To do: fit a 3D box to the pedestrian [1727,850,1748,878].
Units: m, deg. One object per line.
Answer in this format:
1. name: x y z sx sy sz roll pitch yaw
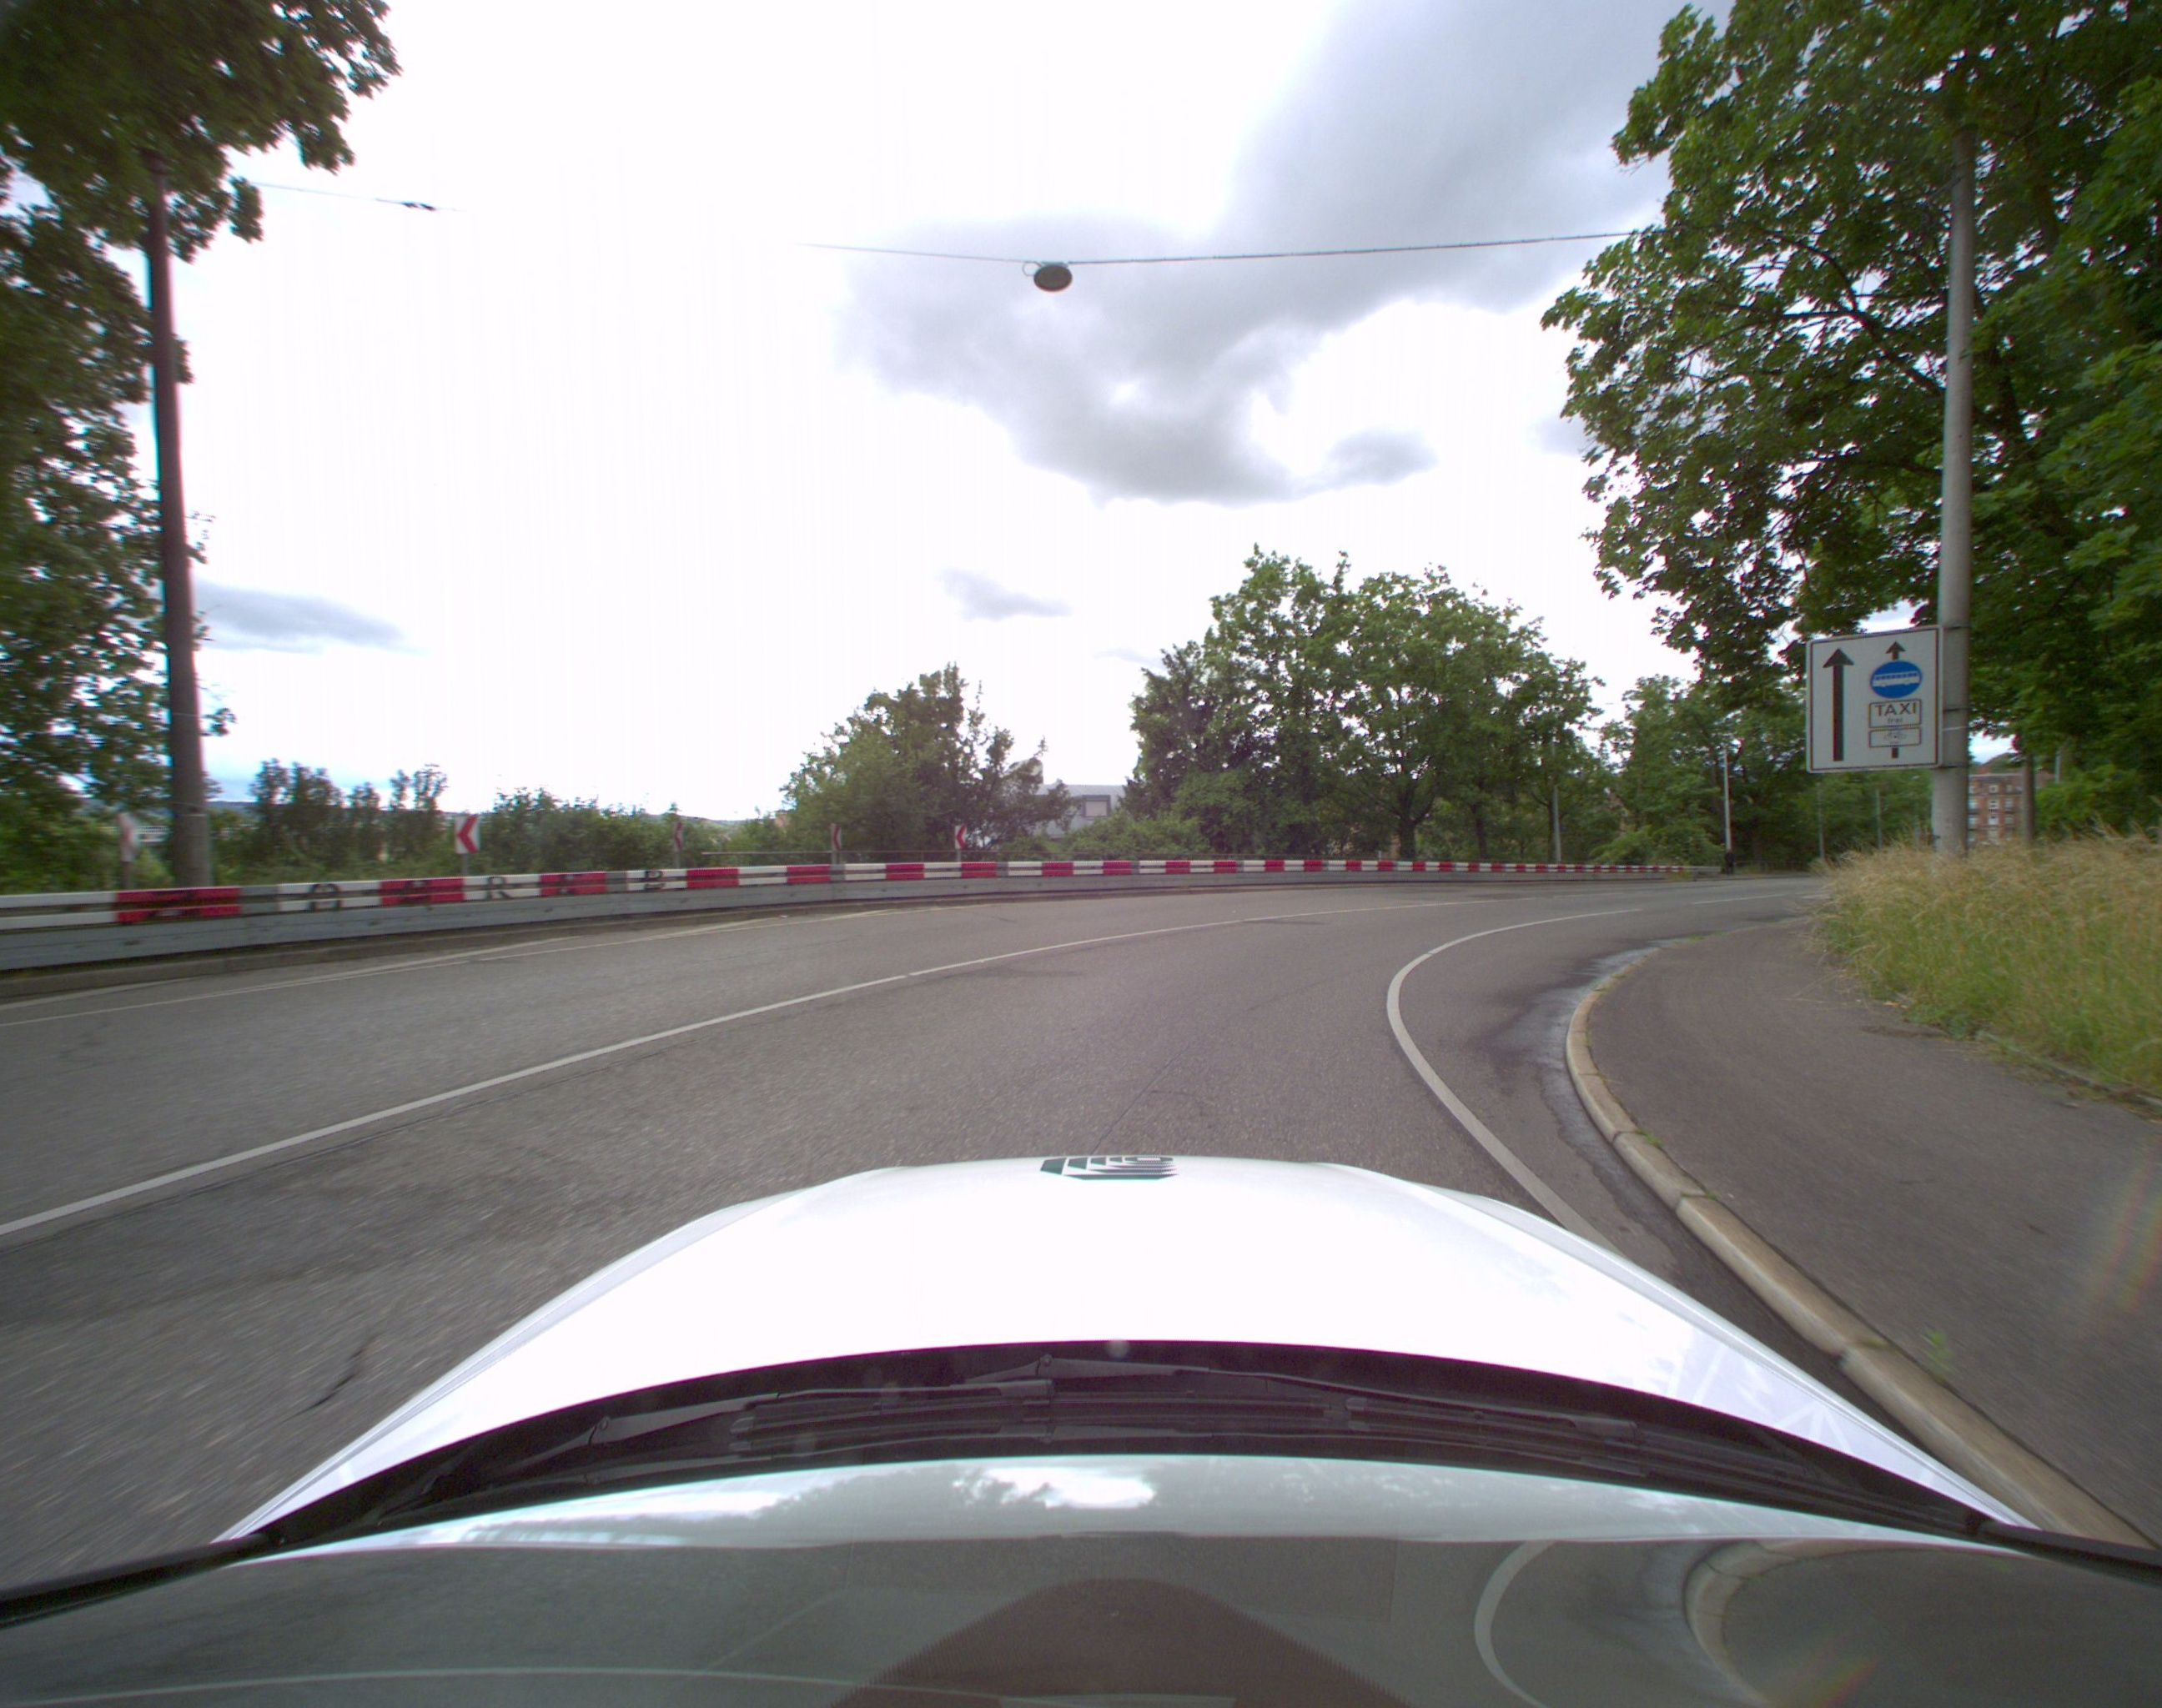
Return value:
1. pedestrian: 43.073 0.664 53.406 1.215 1.774 0.782 0 2 -39
